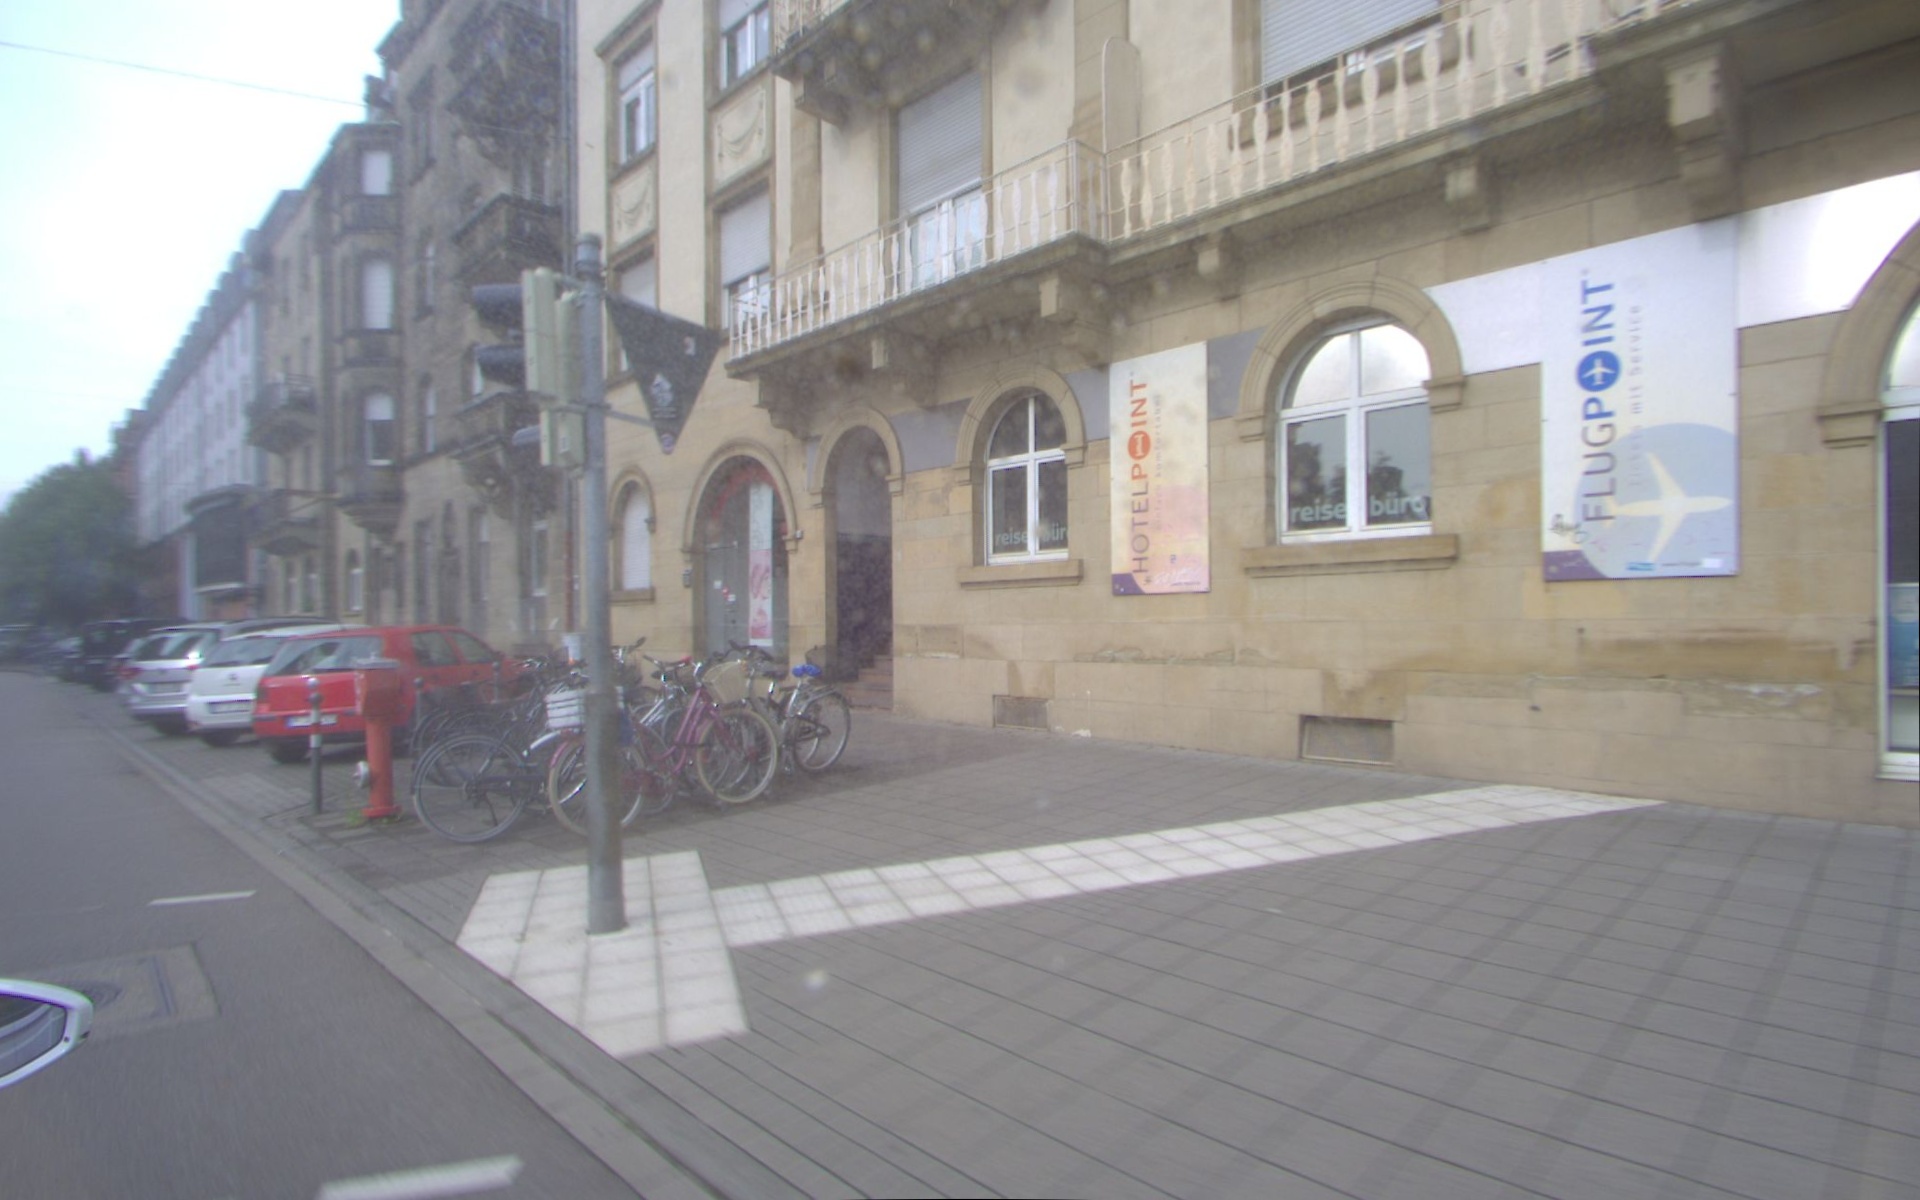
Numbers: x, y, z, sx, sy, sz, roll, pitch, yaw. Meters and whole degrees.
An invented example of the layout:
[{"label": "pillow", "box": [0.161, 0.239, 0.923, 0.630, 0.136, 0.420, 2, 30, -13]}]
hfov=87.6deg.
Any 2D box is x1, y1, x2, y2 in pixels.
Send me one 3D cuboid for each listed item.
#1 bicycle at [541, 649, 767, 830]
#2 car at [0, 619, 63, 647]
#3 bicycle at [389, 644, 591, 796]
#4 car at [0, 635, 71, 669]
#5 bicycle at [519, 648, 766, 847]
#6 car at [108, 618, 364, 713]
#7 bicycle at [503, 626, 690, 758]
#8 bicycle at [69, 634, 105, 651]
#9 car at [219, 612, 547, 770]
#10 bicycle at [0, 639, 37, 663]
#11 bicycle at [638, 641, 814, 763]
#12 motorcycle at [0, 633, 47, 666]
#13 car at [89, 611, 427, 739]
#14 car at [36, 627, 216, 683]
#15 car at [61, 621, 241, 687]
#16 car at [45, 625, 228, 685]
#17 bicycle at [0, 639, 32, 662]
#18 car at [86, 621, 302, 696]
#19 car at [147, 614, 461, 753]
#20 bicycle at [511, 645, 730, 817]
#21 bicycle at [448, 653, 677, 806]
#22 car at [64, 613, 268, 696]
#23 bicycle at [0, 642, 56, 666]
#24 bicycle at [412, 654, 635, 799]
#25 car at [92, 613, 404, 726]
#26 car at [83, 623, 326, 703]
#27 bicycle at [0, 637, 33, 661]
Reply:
[{"label": "bicycle", "box": [-2.280, 0.996, 7.609, 0.471, 1.142, 1.557, -3, 0, 45]}, {"label": "car", "box": [-72.863, 2.545, 77.107, 1.914, 2.154, 5.622, -1, -1, 12]}, {"label": "bicycle", "box": [-4.281, 1.054, 9.203, 0.471, 1.188, 1.557, -3, 0, 45]}, {"label": "car", "box": [-49.737, 2.739, 52.555, 1.829, 1.599, 4.283, -1, 0, 13]}, {"label": "bicycle", "box": [-2.175, 0.962, 7.008, 0.471, 1.142, 1.557, -3, 0, 45]}, {"label": "car", "box": [-14.907, 1.280, 20.998, 1.713, 1.595, 4.462, -1, 1, 7]}, {"label": "bicycle", "box": [-3.784, 0.920, 10.544, 0.491, 1.188, 1.767, -3, 0, 45]}, {"label": "bicycle", "box": [-58.489, 2.861, 67.088, 0.560, 1.105, 1.742, -3, -3, 45]}, {"label": "car", "box": [-6.735, 0.962, 12.236, 1.760, 1.582, 3.834, -2, -1, 0]}, {"label": "bicycle", "box": [-44.449, 2.388, 46.787, 0.605, 1.056, 1.918, -3, -2, 42]}, {"label": "bicycle", "box": [-2.366, 1.006, 10.291, 0.471, 1.053, 1.722, -3, 0, 45]}, {"label": "motorcycle", "box": [-43.052, 2.245, 45.596, 0.762, 1.448, 2.122, -3, -2, 42]}, {"label": "car", "box": [-10.873, 1.074, 15.960, 1.880, 1.704, 4.222, -2, -1, 12]}, {"label": "car", "box": [-27.404, 1.744, 33.080, 1.656, 1.498, 4.248, -1, 2, 21]}, {"label": "car", "box": [-23.572, 1.517, 29.401, 1.731, 1.623, 3.997, -1, 1, 6]}, {"label": "car", "box": [-25.535, 1.665, 31.232, 1.897, 1.555, 3.992, -1, 1, 17]}, {"label": "bicycle", "box": [-45.655, 2.428, 47.858, 0.605, 1.056, 1.873, -3, -2, 42]}, {"label": "car", "box": [-19.213, 1.411, 25.382, 1.993, 1.473, 4.067, -2, 2, 7]}, {"label": "car", "box": [-8.966, 1.060, 14.108, 1.814, 1.529, 3.586, -3, 1, 4]}, {"label": "bicycle", "box": [-2.660, 0.986, 7.977, 0.471, 1.142, 1.557, -3, 0, 45]}, {"label": "bicycle", "box": [-3.332, 1.046, 8.526, 0.471, 1.053, 1.722, -3, 0, 45]}, {"label": "car", "box": [-21.369, 1.400, 27.219, 1.843, 1.933, 4.280, -1, 1, 5]}, {"label": "bicycle", "box": [-43.481, 2.509, 46.646, 0.605, 1.076, 1.998, -3, -2, 42]}, {"label": "bicycle", "box": [-3.841, 1.075, 8.924, 0.471, 1.053, 1.722, -3, 0, 45]}, {"label": "car", "box": [-12.946, 1.171, 18.687, 1.900, 1.707, 4.749, -2, 0, 10]}, {"label": "car", "box": [-17.068, 1.356, 22.957, 1.816, 1.573, 4.464, -1, -1, 7]}, {"label": "bicycle", "box": [-46.972, 2.417, 49.330, 0.605, 1.155, 1.873, -3, -2, 42]}]
